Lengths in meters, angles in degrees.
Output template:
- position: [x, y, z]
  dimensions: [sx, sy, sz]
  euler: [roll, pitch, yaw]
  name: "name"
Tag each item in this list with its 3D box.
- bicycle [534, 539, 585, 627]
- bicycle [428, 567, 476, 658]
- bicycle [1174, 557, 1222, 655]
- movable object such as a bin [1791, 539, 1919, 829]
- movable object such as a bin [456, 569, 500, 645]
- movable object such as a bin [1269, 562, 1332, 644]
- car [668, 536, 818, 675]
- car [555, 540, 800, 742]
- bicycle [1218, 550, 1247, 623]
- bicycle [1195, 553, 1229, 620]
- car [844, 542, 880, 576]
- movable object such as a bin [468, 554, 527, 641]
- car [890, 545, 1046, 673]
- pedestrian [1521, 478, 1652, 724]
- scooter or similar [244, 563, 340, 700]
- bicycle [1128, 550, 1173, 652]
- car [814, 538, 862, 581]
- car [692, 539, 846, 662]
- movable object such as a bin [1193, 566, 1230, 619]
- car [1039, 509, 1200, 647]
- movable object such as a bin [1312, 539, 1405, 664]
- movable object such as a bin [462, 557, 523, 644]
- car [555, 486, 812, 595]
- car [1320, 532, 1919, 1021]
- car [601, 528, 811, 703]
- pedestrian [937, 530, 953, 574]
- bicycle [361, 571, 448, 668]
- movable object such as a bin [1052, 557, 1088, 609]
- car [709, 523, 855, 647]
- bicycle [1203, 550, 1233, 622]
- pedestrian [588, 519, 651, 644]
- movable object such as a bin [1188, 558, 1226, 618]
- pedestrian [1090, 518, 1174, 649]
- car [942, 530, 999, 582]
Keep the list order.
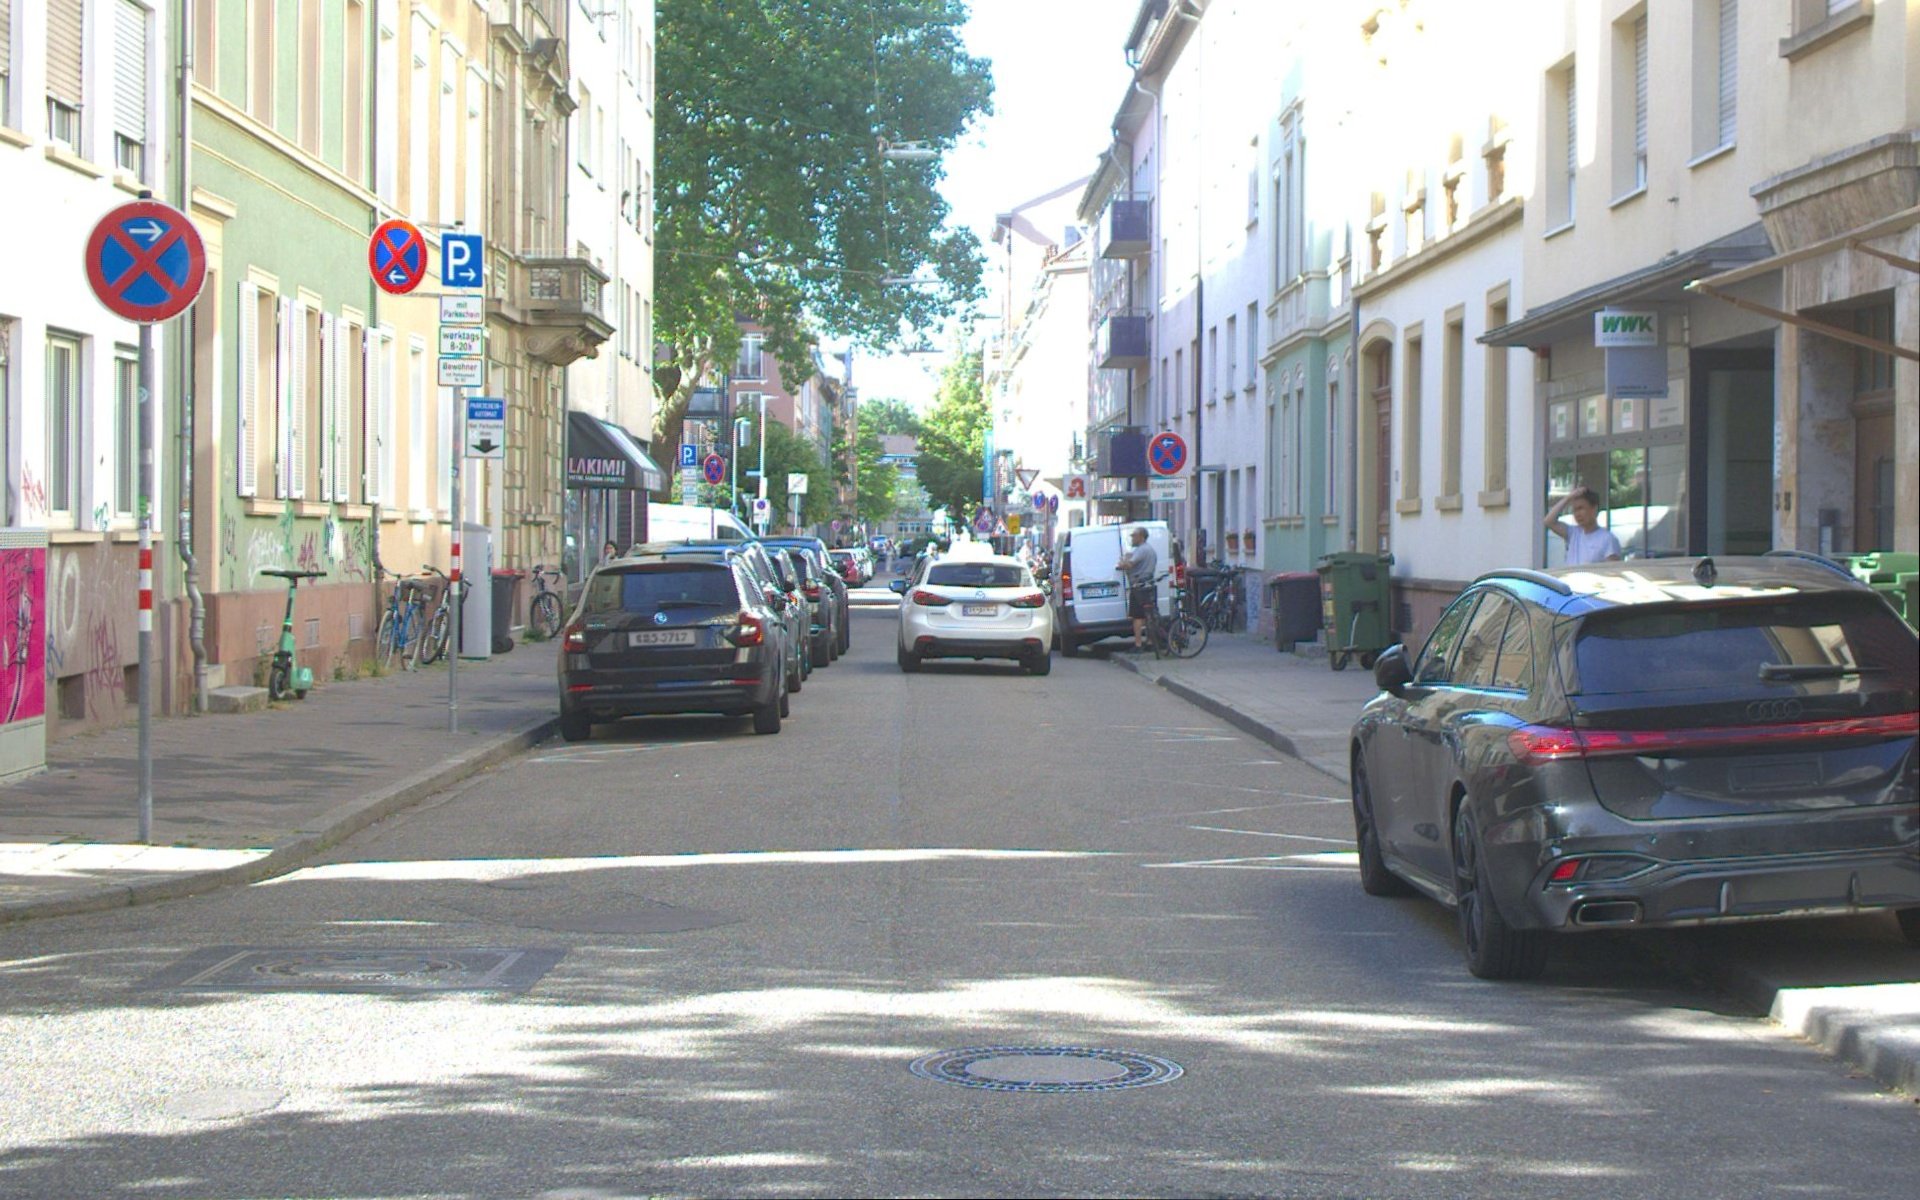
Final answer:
- position: [-5.910, -0.245, 50.745]
  dimensions: [0.510, 1.272, 1.867]
  euler: [0, 0, 1]
  name: "bicycle"
- position: [-6.022, 0.144, 40.801]
  dimensions: [0.402, 1.052, 1.837]
  euler: [0, 0, -4]
  name: "bicycle"
- position: [3.209, 0.064, 46.458]
  dimensions: [0.575, 1.266, 2.199]
  euler: [-2, 1, 3]
  name: "bicycle"
- position: [4.880, 0.408, 17.911]
  dimensions: [0.746, 1.431, 1.372]
  euler: [-2, 1, 1]
  name: "movable object such as a bin"
- position: [-6.082, 0.082, 43.399]
  dimensions: [0.472, 0.934, 0.561]
  euler: [2, 1, -3]
  name: "movable object such as a bin"
- position: [4.579, 0.042, 46.317]
  dimensions: [0.797, 1.092, 0.642]
  euler: [0, 0, 2]
  name: "movable object such as a bin"
- position: [-2.509, 0.030, 40.458]
  dimensions: [1.615, 1.548, 3.978]
  euler: [0, 1, -2]
  name: "car"
- position: [-2.277, 0.277, 28.806]
  dimensions: [1.713, 1.483, 4.852]
  euler: [-2, 1, -1]
  name: "car"
- position: [4.578, -0.231, 57.815]
  dimensions: [0.405, 1.202, 2.159]
  euler: [0, 0, 3]
  name: "bicycle"
- position: [4.415, -0.236, 60.240]
  dimensions: [0.568, 1.149, 1.868]
  euler: [0, 0, 4]
  name: "bicycle"
- position: [-4.655, -1.931, 163.782]
  dimensions: [1.572, 1.580, 3.611]
  euler: [0, 0, 0]
  name: "car"
- position: [-6.019, -0.033, 44.749]
  dimensions: [0.719, 1.128, 0.585]
  euler: [0, 0, -4]
  name: "movable object such as a bin"
- position: [0.052, 0.072, 42.631]
  dimensions: [1.823, 1.509, 3.824]
  euler: [0, 1, -1]
  name: "car"
- position: [4.837, 0.000, 26.564]
  dimensions: [0.648, 1.853, 0.749]
  euler: [-2, 2, -22]
  name: "pedestrian"
- position: [-5.903, 0.269, 30.458]
  dimensions: [0.454, 1.177, 1.691]
  euler: [0, 0, 2]
  name: "scooter or similar"
- position: [2.557, -0.009, 46.132]
  dimensions: [0.575, 1.316, 2.199]
  euler: [-1, 1, 3]
  name: "bicycle"
- position: [-4.643, -1.556, 131.562]
  dimensions: [1.769, 1.583, 3.726]
  euler: [0, 2, -1]
  name: "car"
- position: [-2.464, -0.022, 45.226]
  dimensions: [1.713, 1.526, 4.367]
  euler: [0, 1, 1]
  name: "car"
- position: [4.500, -0.143, 61.510]
  dimensions: [0.577, 0.921, 0.607]
  euler: [-2, 1, 0]
  name: "movable object such as a bin"
- position: [2.350, -0.371, 52.090]
  dimensions: [1.983, 1.877, 5.600]
  euler: [-3, 1, -1]
  name: "car"
- position: [4.595, 0.026, 39.721]
  dimensions: [0.837, 1.385, 1.297]
  euler: [-2, -1, -2]
  name: "movable object such as a bin"
- position: [-5.994, 0.002, 44.129]
  dimensions: [0.735, 1.085, 0.683]
  euler: [0, 2, -4]
  name: "movable object such as a bin"
- position: [-7.586, -1.630, 94.784]
  dimensions: [6.739, 2.546, 2.145]
  euler: [4, 0, 1]
  name: "car"
- position: [2.634, 0.544, 13.694]
  dimensions: [1.801, 1.573, 4.897]
  euler: [1, 1, -1]
  name: "car"
- position: [-2.487, 0.097, 34.663]
  dimensions: [1.744, 1.609, 4.603]
  euler: [-1, 1, 0]
  name: "car"
- position: [-0.731, -2.302, 164.782]
  dimensions: [0.771, 2.111, 0.835]
  euler: [0, 0, 0]
  name: "pedestrian"
- position: [-6.041, 0.201, 37.451]
  dimensions: [0.361, 1.025, 1.916]
  euler: [0, 0, 9]
  name: "bicycle"
- position: [2.296, -0.365, 72.041]
  dimensions: [0.732, 1.077, 0.703]
  euler: [0, 0, 0]
  name: "movable object such as a bin"
- position: [-2.571, -0.250, 50.742]
  dimensions: [1.936, 1.730, 5.142]
  euler: [0, 1, -1]
  name: "car"
- position: [4.440, -0.239, 59.151]
  dimensions: [0.438, 1.202, 2.265]
  euler: [0, 0, 6]
  name: "bicycle"
- position: [-4.755, -0.263, 48.102]
  dimensions: [0.764, 1.708, 0.883]
  euler: [2, 1, -1]
  name: "pedestrian"
- position: [4.468, -0.222, 62.118]
  dimensions: [0.616, 1.058, 0.603]
  euler: [-1, 1, -1]
  name: "movable object such as a bin"
- position: [2.433, -0.232, 48.533]
  dimensions: [0.867, 1.830, 0.882]
  euler: [0, 0, 32]
  name: "pedestrian"
- position: [0.390, -1.722, 134.798]
  dimensions: [1.942, 1.941, 4.079]
  euler: [1, 1, -3]
  name: "car"
